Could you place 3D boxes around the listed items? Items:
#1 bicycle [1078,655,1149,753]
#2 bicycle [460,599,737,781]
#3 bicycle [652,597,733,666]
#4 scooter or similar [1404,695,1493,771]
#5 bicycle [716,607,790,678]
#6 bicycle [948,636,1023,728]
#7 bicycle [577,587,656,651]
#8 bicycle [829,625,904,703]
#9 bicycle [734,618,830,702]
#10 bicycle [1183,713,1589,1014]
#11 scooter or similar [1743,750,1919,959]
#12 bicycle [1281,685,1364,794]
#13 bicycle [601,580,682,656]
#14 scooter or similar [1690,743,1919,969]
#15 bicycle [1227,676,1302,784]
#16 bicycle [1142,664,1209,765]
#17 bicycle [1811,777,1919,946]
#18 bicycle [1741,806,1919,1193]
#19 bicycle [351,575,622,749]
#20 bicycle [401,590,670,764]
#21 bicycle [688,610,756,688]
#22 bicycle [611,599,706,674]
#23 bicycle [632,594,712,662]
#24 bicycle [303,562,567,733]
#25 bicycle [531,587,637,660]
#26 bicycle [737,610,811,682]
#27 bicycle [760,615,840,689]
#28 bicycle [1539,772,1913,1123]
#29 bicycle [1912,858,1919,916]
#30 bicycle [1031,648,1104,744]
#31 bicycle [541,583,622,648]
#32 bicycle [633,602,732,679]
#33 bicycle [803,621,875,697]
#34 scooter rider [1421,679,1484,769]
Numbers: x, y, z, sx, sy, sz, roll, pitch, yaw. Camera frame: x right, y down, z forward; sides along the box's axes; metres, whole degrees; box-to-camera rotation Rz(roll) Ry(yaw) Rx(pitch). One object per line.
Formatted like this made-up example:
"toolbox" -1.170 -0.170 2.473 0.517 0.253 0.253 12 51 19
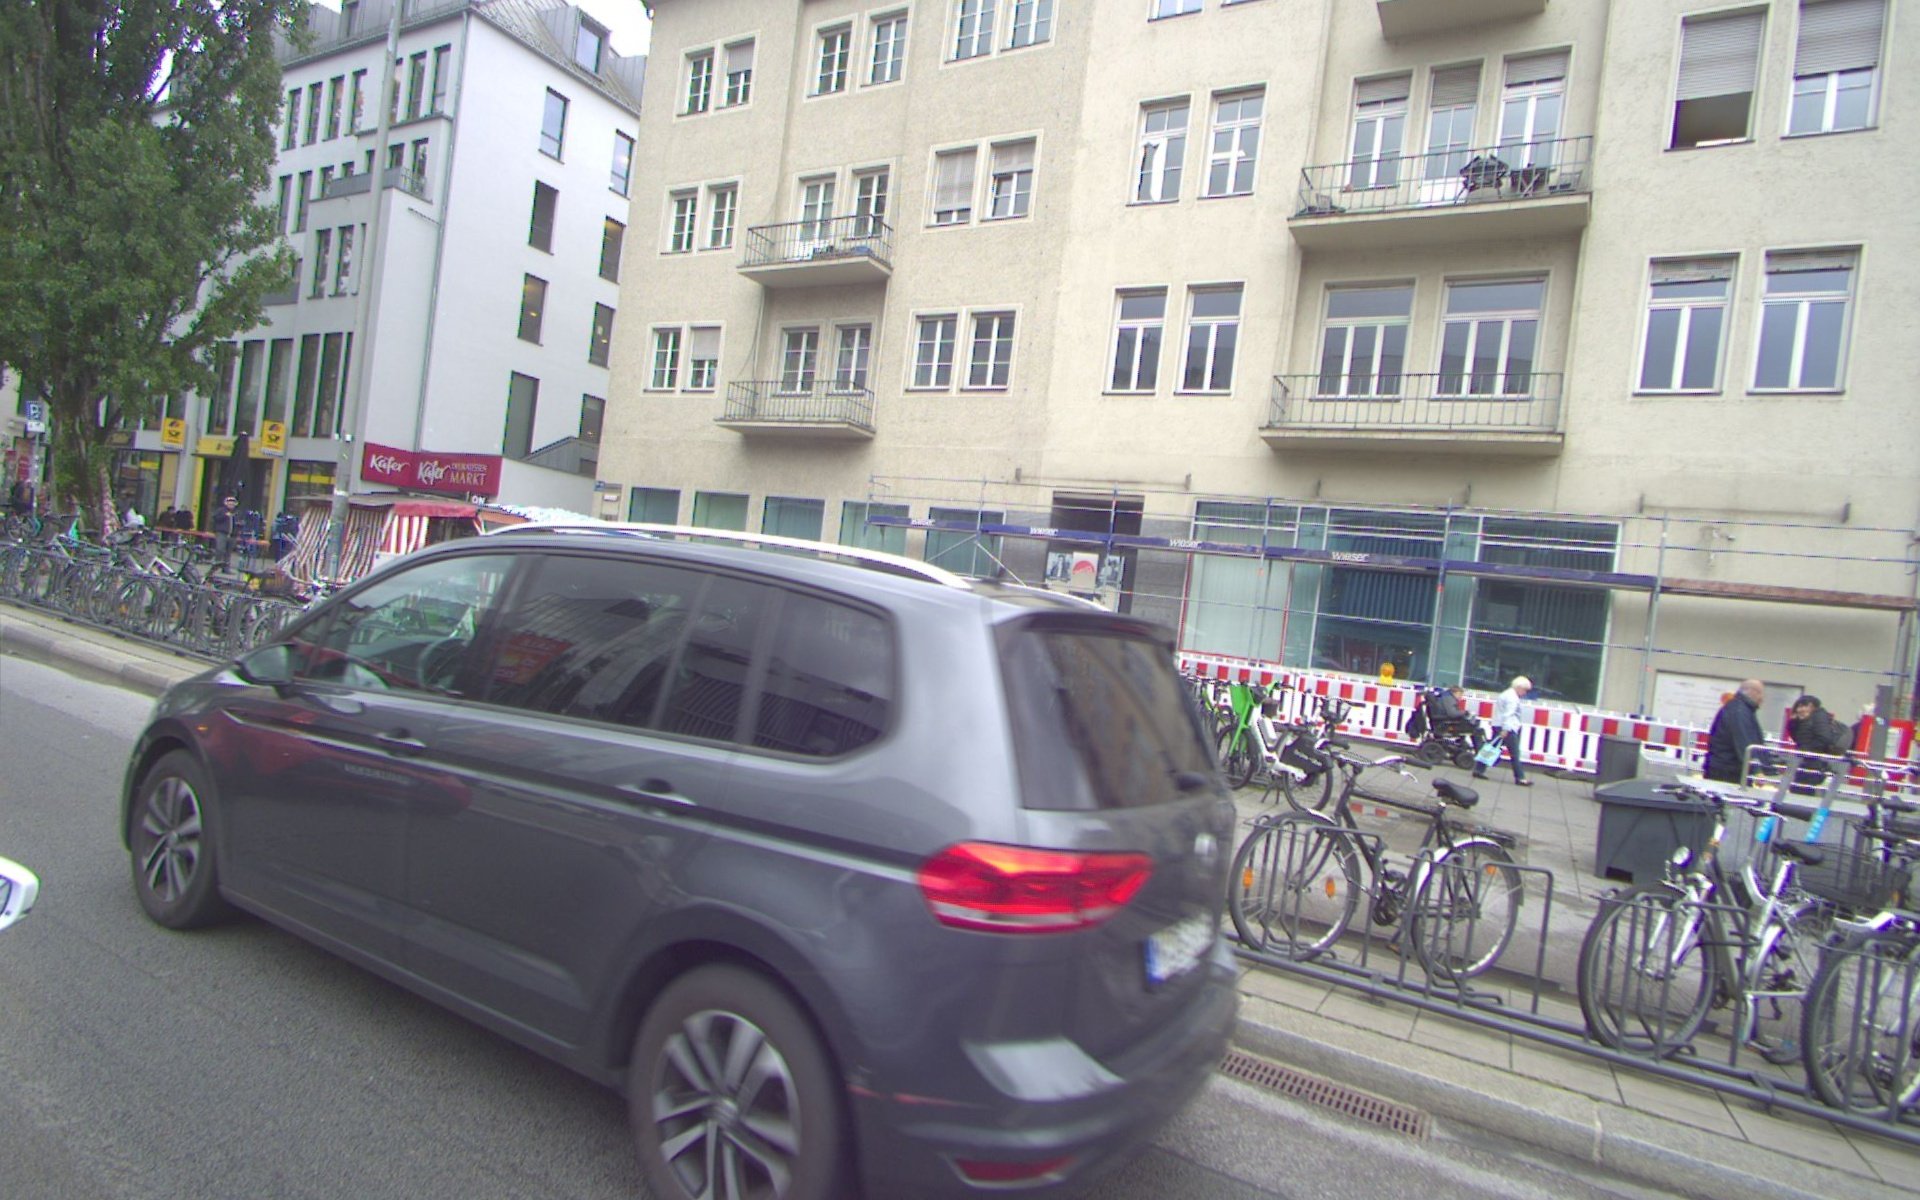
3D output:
"bicycle" 1.903 1.248 12.362 0.362 1.088 1.430 7 0 24
"bicycle" -2.660 0.677 7.553 1.778 1.125 0.584 7 1 -17
"bicycle" -4.183 0.513 15.800 0.363 0.993 1.246 7 0 29
"scooter or similar" 7.519 2.029 15.500 1.106 0.956 0.535 7 2 29
"bicycle" -3.136 0.649 15.308 0.362 0.993 1.247 7 0 22
"bicycle" 0.349 1.046 13.011 0.362 1.088 1.331 7 0 24
"bicycle" -5.728 0.335 16.824 0.363 0.975 1.246 7 0 29
"bicycle" -1.274 0.888 13.968 0.362 0.993 1.247 7 0 24
"bicycle" -2.266 0.773 12.949 0.363 0.975 1.405 7 0 26
"bicycle" 2.068 1.244 4.855 1.782 1.172 0.648 7 0 -24
"scooter or similar" 6.311 1.755 6.969 0.298 1.190 1.268 6 1 -28
"bicycle" 4.117 1.536 11.371 0.444 1.088 1.551 8 0 32
"bicycle" -5.170 0.310 16.397 0.363 1.154 1.246 7 1 29
"scooter or similar" 5.943 1.701 6.927 0.361 1.190 1.337 6 1 -28
"bicycle" 3.525 1.456 11.577 0.443 1.088 1.553 7 0 27
"bicycle" 2.595 1.337 12.017 0.362 1.088 1.430 7 0 24
"bicycle" 7.037 1.953 7.745 0.363 0.976 1.756 8 0 31
"bicycle" 3.851 1.463 3.968 1.786 1.172 0.483 7 0 -30
"bicycle" -3.786 0.504 8.195 1.810 1.182 0.584 7 1 -17
"bicycle" -3.245 0.602 7.842 1.778 1.125 0.489 7 1 -17
"bicycle" -3.217 0.657 13.684 0.362 0.975 1.229 7 0 9
"bicycle" -4.281 0.532 14.360 0.363 0.975 1.262 8 0 34
"bicycle" -4.618 0.464 16.171 0.363 0.993 1.246 7 0 29
"bicycle" -4.423 0.409 8.615 1.810 1.212 0.584 7 1 -17
"bicycle" -5.588 0.371 15.011 0.363 0.975 1.431 8 0 36
"bicycle" -2.754 0.693 14.991 0.362 0.993 1.247 7 0 22
"bicycle" -2.302 0.762 14.571 0.363 0.993 1.246 7 0 28
"bicycle" 3.275 1.387 4.250 1.785 1.172 0.483 7 1 -29
"bicycle" 7.597 2.027 7.363 0.445 0.976 1.756 7 0 31
"bicycle" 1.368 1.178 12.597 0.362 1.088 1.430 7 0 24
"bicycle" -6.312 0.272 16.820 0.363 0.975 1.246 7 0 29
"bicycle" -3.874 0.587 14.121 0.364 0.975 1.259 8 1 40
"bicycle" -1.706 0.839 14.330 0.362 0.993 1.247 7 0 22
"scooter rider" 7.593 1.893 15.496 0.707 1.235 0.686 8 2 29
